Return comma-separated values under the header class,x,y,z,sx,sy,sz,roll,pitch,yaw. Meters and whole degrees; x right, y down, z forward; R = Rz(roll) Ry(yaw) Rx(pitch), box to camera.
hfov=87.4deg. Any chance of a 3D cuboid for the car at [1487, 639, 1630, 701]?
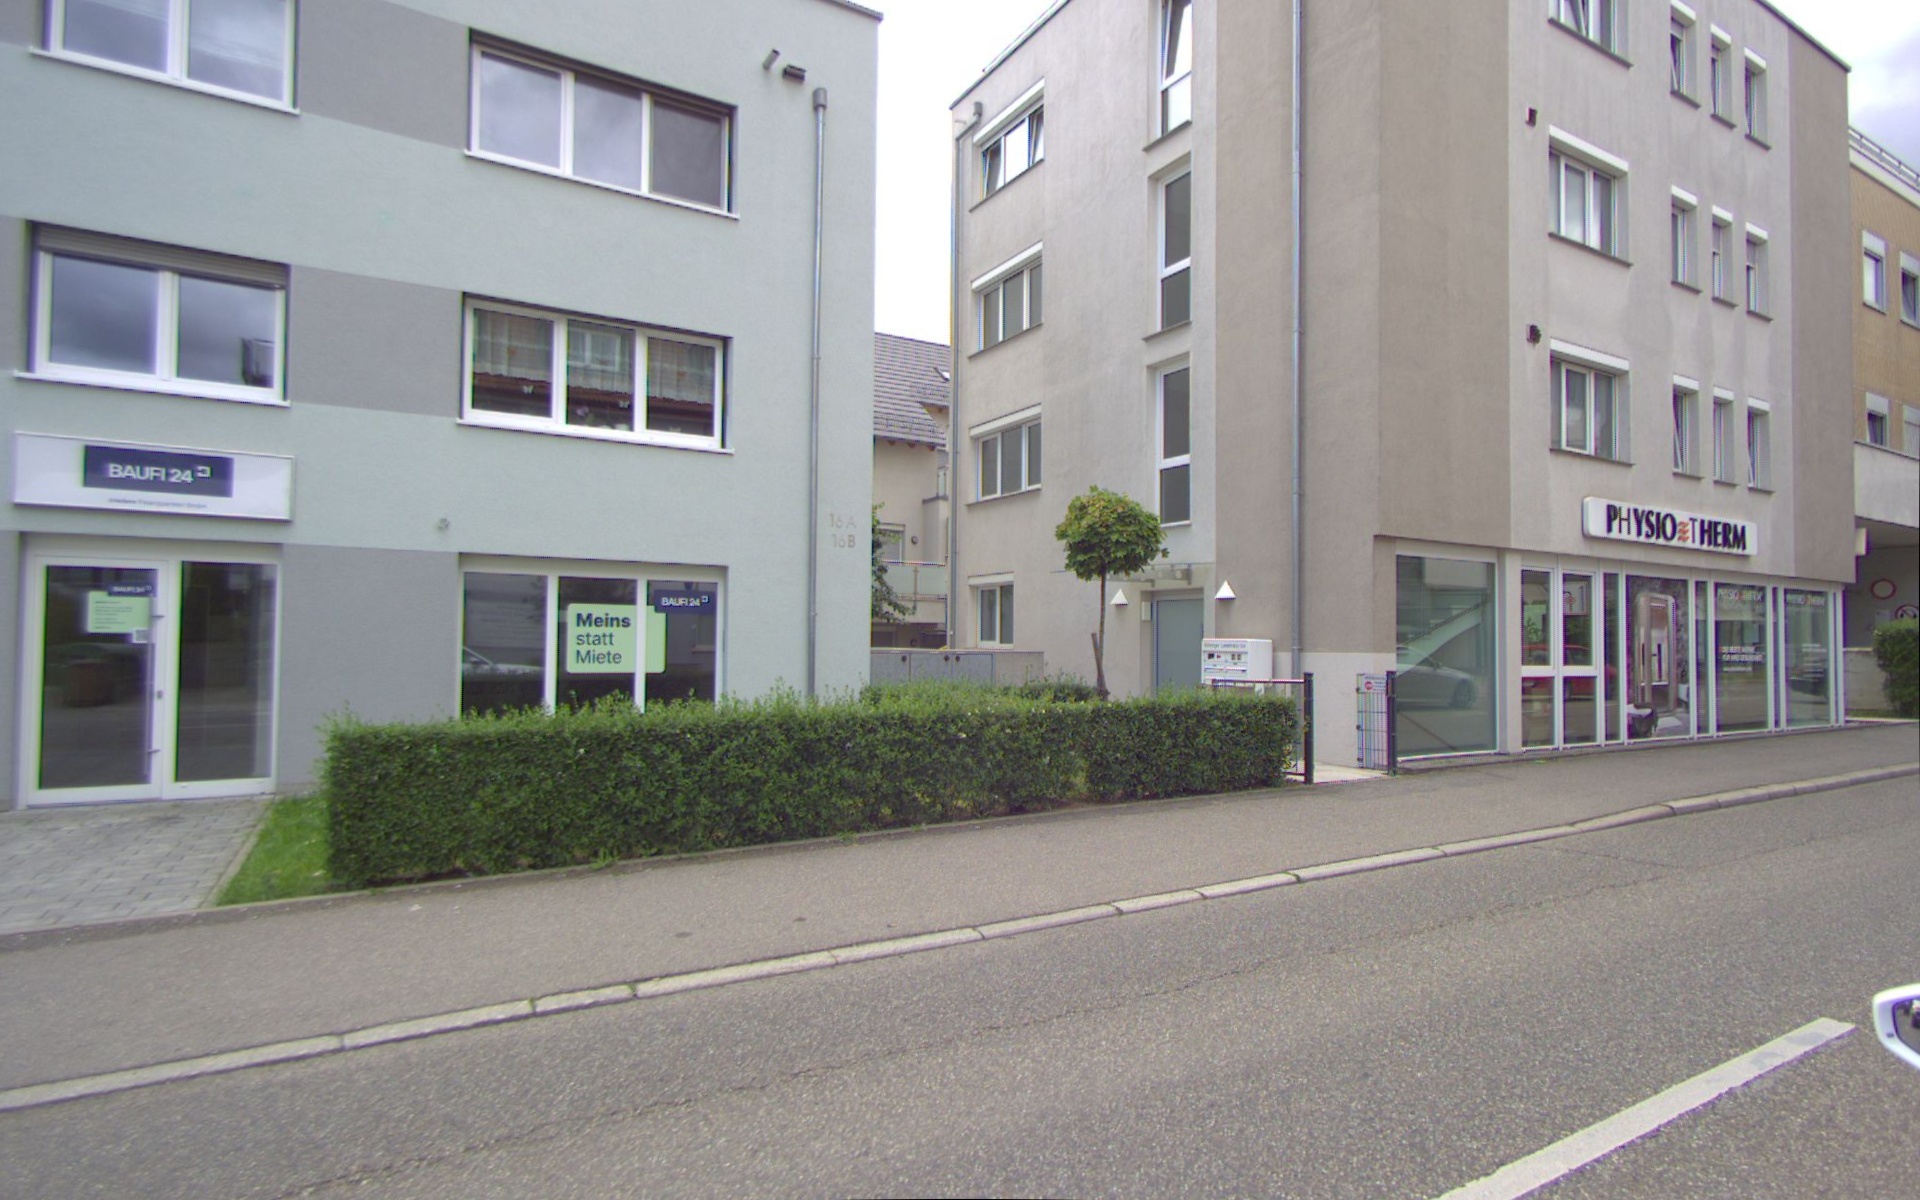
class,x,y,z,sx,sy,sz,roll,pitch,yaw
car,16.009,1.833,26.838,3.647,1.476,1.745,2,-1,-30
